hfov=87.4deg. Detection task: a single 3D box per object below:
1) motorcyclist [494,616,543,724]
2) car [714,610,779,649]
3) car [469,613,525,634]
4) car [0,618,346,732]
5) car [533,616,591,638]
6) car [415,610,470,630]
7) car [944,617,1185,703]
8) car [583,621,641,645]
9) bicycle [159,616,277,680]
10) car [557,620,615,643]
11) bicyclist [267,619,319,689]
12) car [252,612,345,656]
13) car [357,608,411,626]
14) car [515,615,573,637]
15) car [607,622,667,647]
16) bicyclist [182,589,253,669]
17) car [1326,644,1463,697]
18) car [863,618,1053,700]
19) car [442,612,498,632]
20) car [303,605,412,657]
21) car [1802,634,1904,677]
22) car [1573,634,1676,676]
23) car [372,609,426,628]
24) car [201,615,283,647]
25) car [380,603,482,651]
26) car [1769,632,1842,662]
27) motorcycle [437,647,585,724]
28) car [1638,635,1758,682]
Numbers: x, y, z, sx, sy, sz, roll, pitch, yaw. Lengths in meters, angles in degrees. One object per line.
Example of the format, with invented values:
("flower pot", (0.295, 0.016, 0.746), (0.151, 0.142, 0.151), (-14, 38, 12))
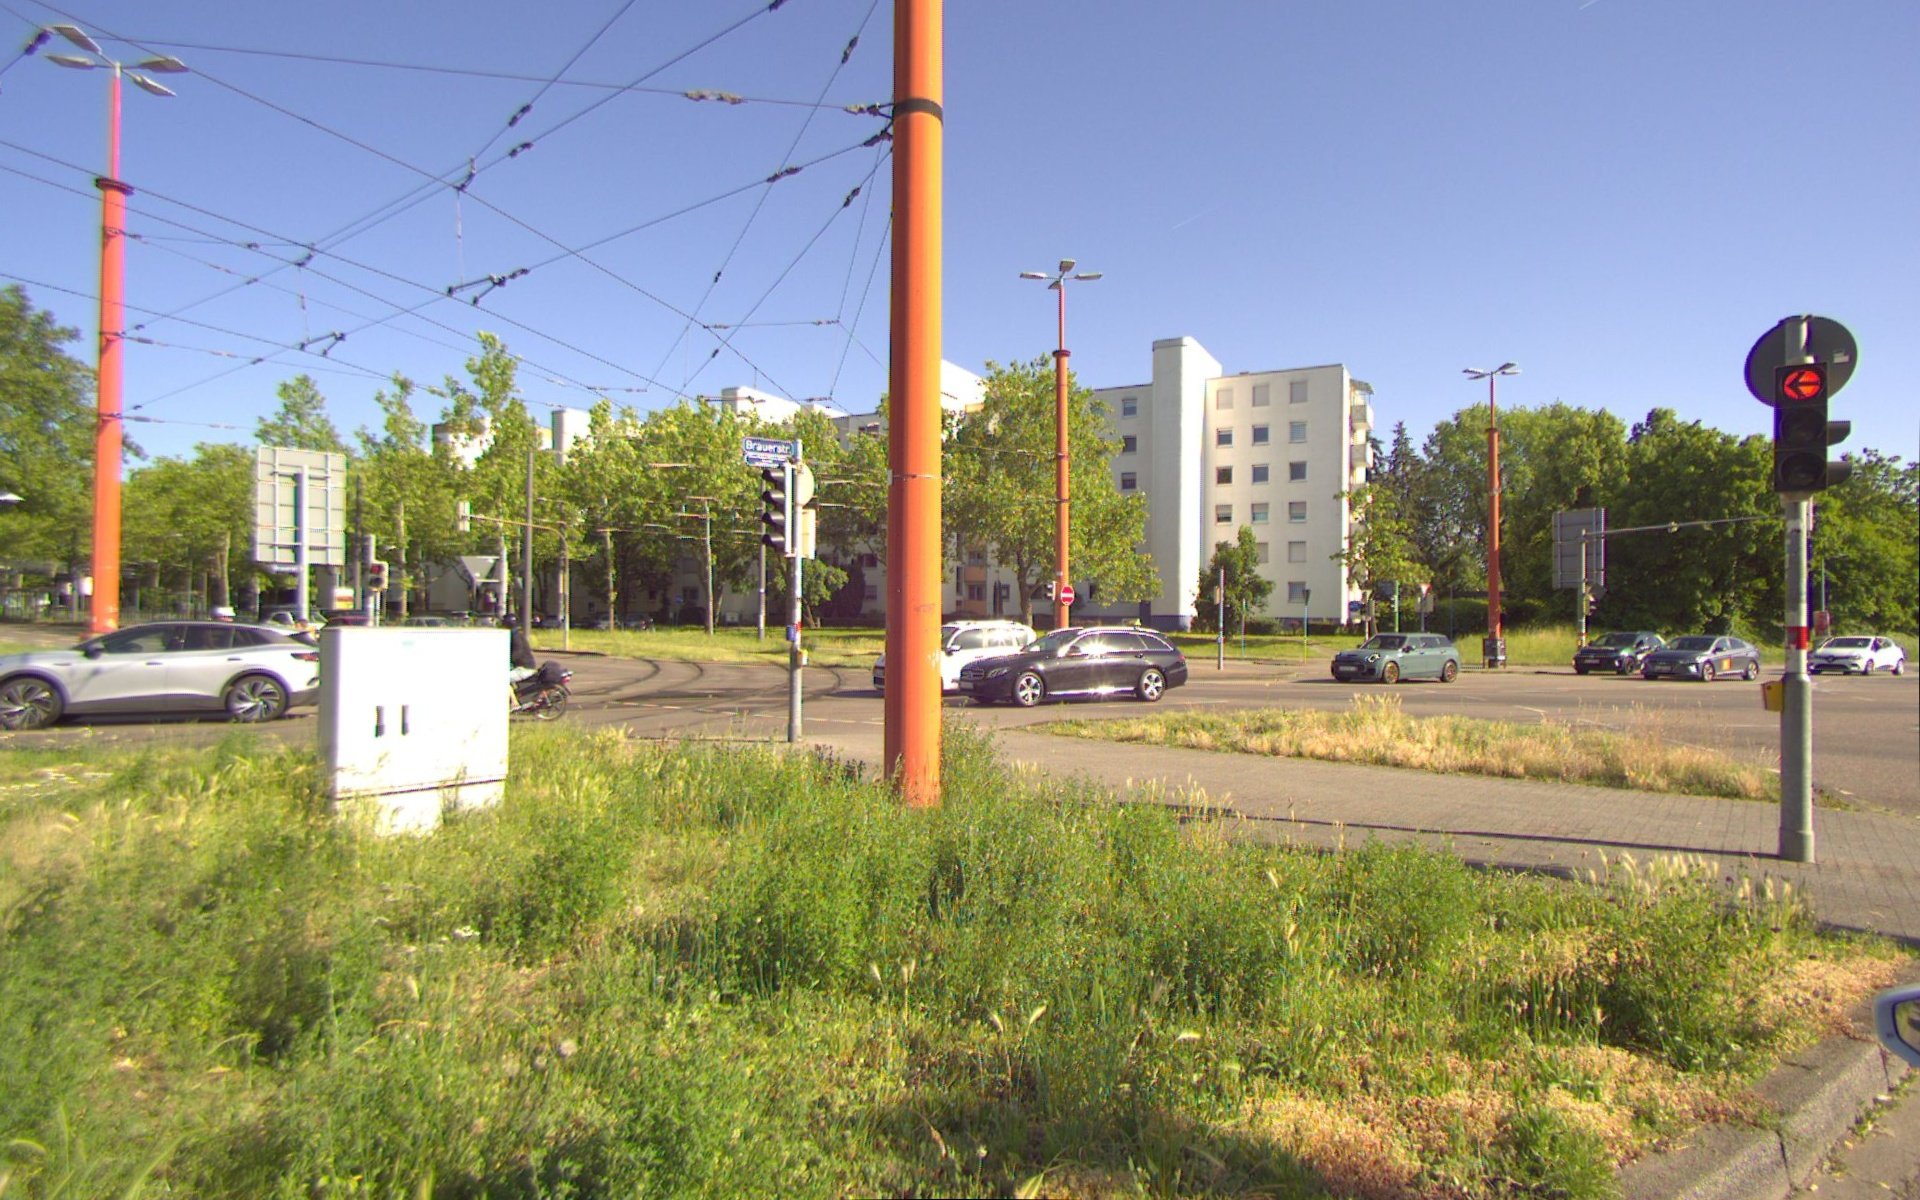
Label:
("motorcyclist", (-6.910, 1.077, 15.741), (0.631, 1.621, 0.833), (2, 0, -21))
("car", (-13.840, 1.905, 65.040), (3.934, 2.341, 1.889), (2, 0, -15))
("car", (-38.559, 1.923, 83.771), (3.934, 1.617, 1.890), (2, 0, -15))
("car", (-12.463, 1.146, 16.012), (4.381, 1.622, 1.832), (2, -2, -27))
("car", (-30.775, 2.086, 77.767), (3.934, 1.617, 1.890), (2, 0, -15))
("car", (-45.128, 1.774, 87.629), (3.934, 1.617, 1.890), (2, 0, -15))
("car", (2.121, 1.165, 20.028), (4.551, 1.505, 1.867), (2, 0, -30))
("car", (-25.670, 2.412, 74.219), (3.934, 1.617, 1.890), (2, 0, -15))
("bicycle", (-13.939, 0.880, 18.858), (2.313, 1.095, 0.474), (1, 0, 17))
("car", (-28.133, 2.356, 75.680), (3.934, 1.617, 1.890), (2, 0, -15))
("bicyclist", (-13.236, 1.058, 19.939), (0.687, 1.340, 0.548), (1, 0, 22))
("car", (-29.212, 1.460, 44.347), (3.929, 1.773, 1.909), (1, 0, 31))
("car", (-53.666, 1.591, 93.672), (3.934, 1.617, 1.890), (2, 0, -15))
("car", (-32.855, 2.043, 79.411), (3.934, 1.617, 1.890), (2, 0, -15))
("car", (-23.180, 2.463, 72.240), (3.934, 1.617, 1.890), (2, 0, -15))
("bicyclist", (-13.930, 0.540, 18.857), (0.742, 1.449, 0.752), (1, 0, 15))
("car", (12.719, 2.029, 29.356), (4.088, 1.406, 1.424), (2, 0, -28))
("car", (-0.023, 1.327, 23.027), (4.010, 1.730, 1.793), (2, -2, -29))
("car", (-41.758, 1.851, 85.653), (3.934, 1.617, 1.890), (2, 0, -15))
("car", (-24.285, 1.221, 40.445), (4.200, 1.926, 1.996), (1, 0, 31))
("car", (33.082, 2.028, 37.194), (3.901, 1.478, 1.598), (1, -1, -29))
("car", (24.232, 2.006, 36.597), (3.838, 1.452, 1.538), (2, -3, -29))
("car", (-50.993, 1.644, 91.391), (3.934, 1.617, 1.890), (2, 0, -15))
("car", (-33.720, 1.435, 47.166), (3.930, 1.339, 1.732), (1, 0, 31))
("car", (-22.968, 1.141, 43.593), (4.200, 1.926, 1.996), (1, 0, 31))
("car", (38.452, 2.144, 45.682), (3.571, 1.290, 1.446), (2, 0, -31))
("motorcycle", (-7.021, 1.331, 15.801), (2.065, 1.146, 0.420), (2, 0, -22))
("car", (23.695, 1.857, 32.213), (4.211, 1.395, 1.541), (1, -1, -30))
